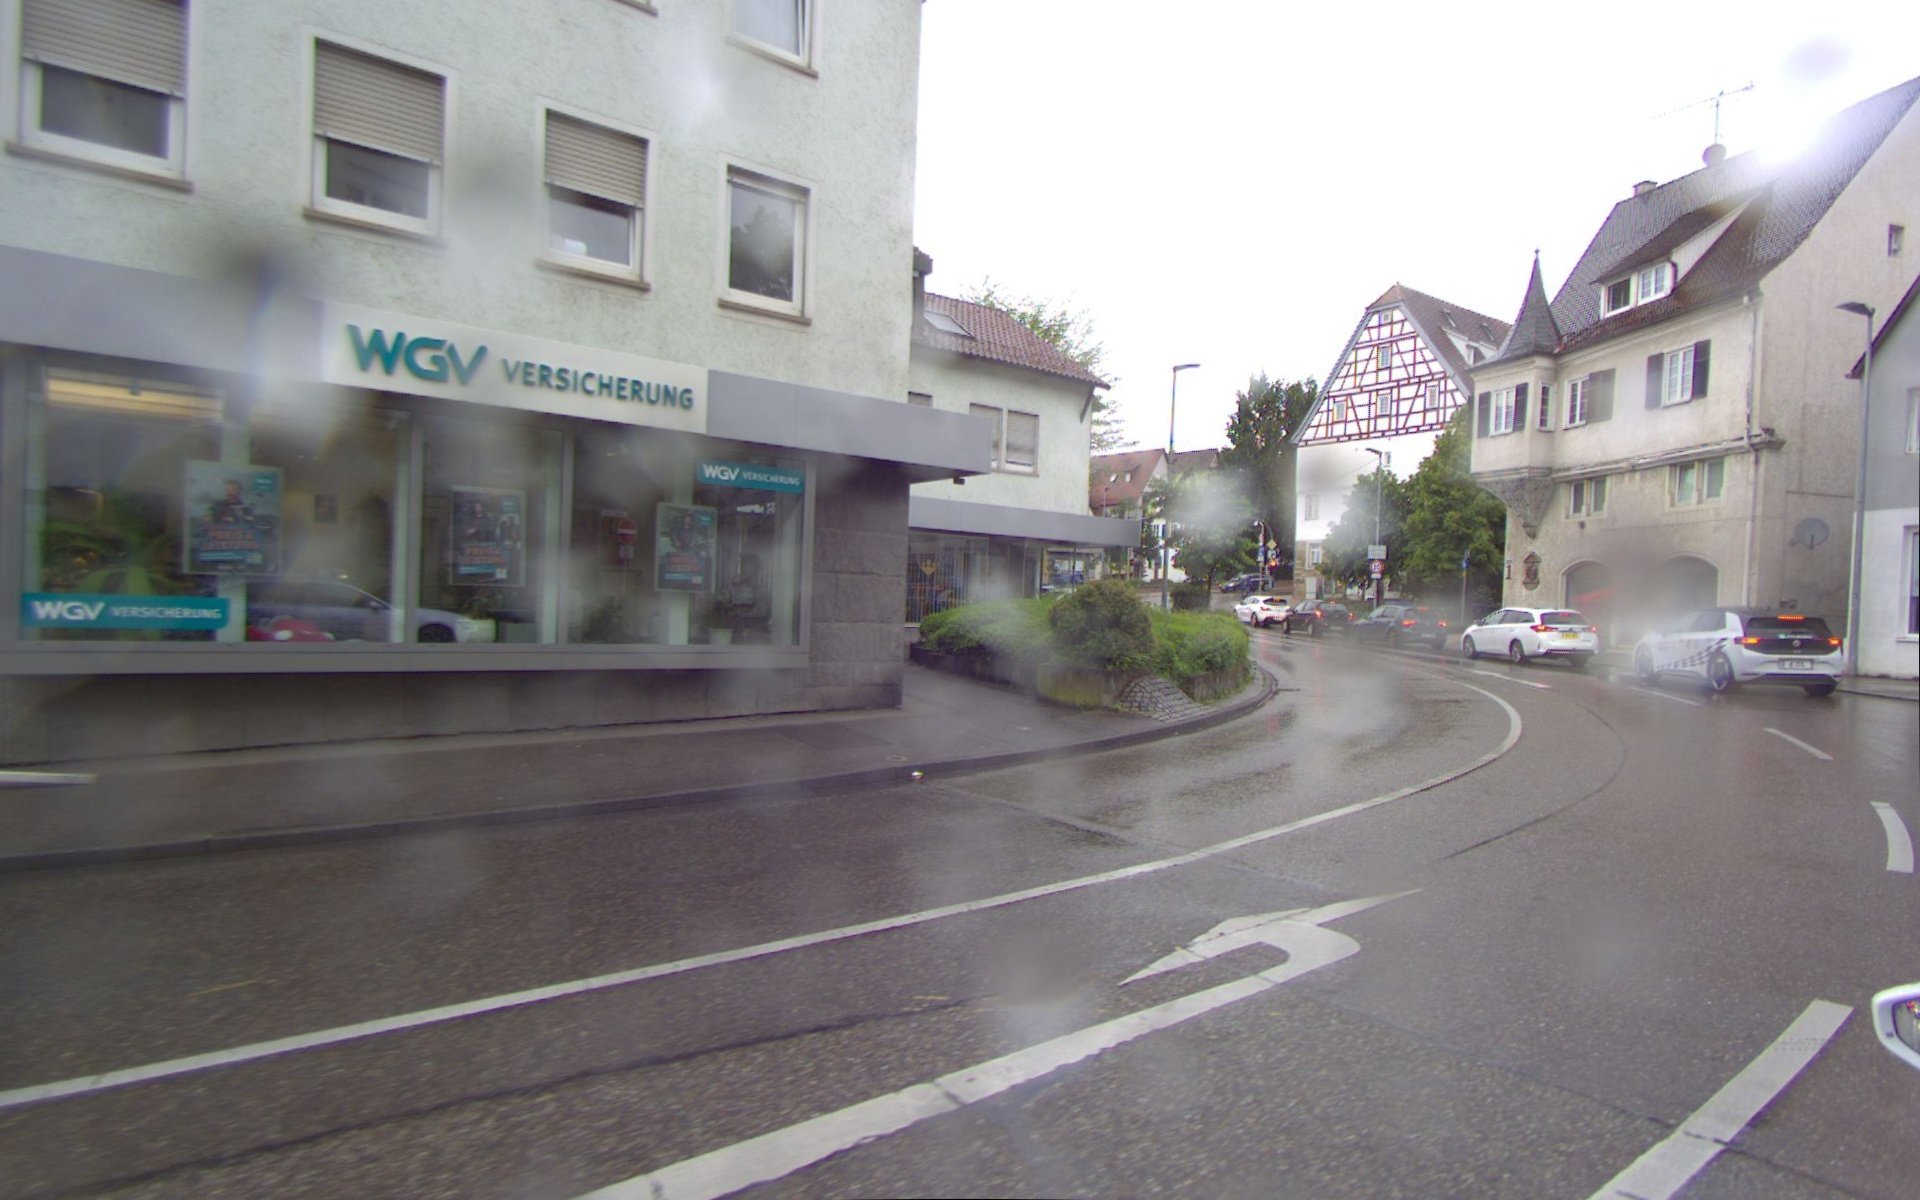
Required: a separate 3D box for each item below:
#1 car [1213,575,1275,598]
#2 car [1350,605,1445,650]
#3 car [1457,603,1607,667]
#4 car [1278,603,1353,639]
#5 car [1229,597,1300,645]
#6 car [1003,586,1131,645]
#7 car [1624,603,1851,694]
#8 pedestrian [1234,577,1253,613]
[{"bbox_3d":[21.789,-1.040,77.138,4.467,1.409,1.641,2,7,-24],"label":"car"},{"bbox_3d":[15.046,0.902,34.750,1.494,1.380,3.765,0,1,-3],"label":"car"},{"bbox_3d":[15.230,0.866,27.022,1.755,1.485,4.164,0,1,2],"label":"car"},{"bbox_3d":[14.584,0.832,41.391,1.636,1.330,3.622,0,1,-3],"label":"car"},{"bbox_3d":[14.493,0.959,48.061,1.942,2.118,3.957,0,1,-5],"label":"car"},{"bbox_3d":[3.256,0.458,30.550,3.488,1.708,1.702,1,1,-24],"label":"car"},{"bbox_3d":[14.778,0.841,19.422,1.758,1.537,4.243,0,0,11],"label":"car"},{"bbox_3d":[18.629,-0.337,66.013,0.851,2.357,1.231,1,0,3],"label":"pedestrian"}]
